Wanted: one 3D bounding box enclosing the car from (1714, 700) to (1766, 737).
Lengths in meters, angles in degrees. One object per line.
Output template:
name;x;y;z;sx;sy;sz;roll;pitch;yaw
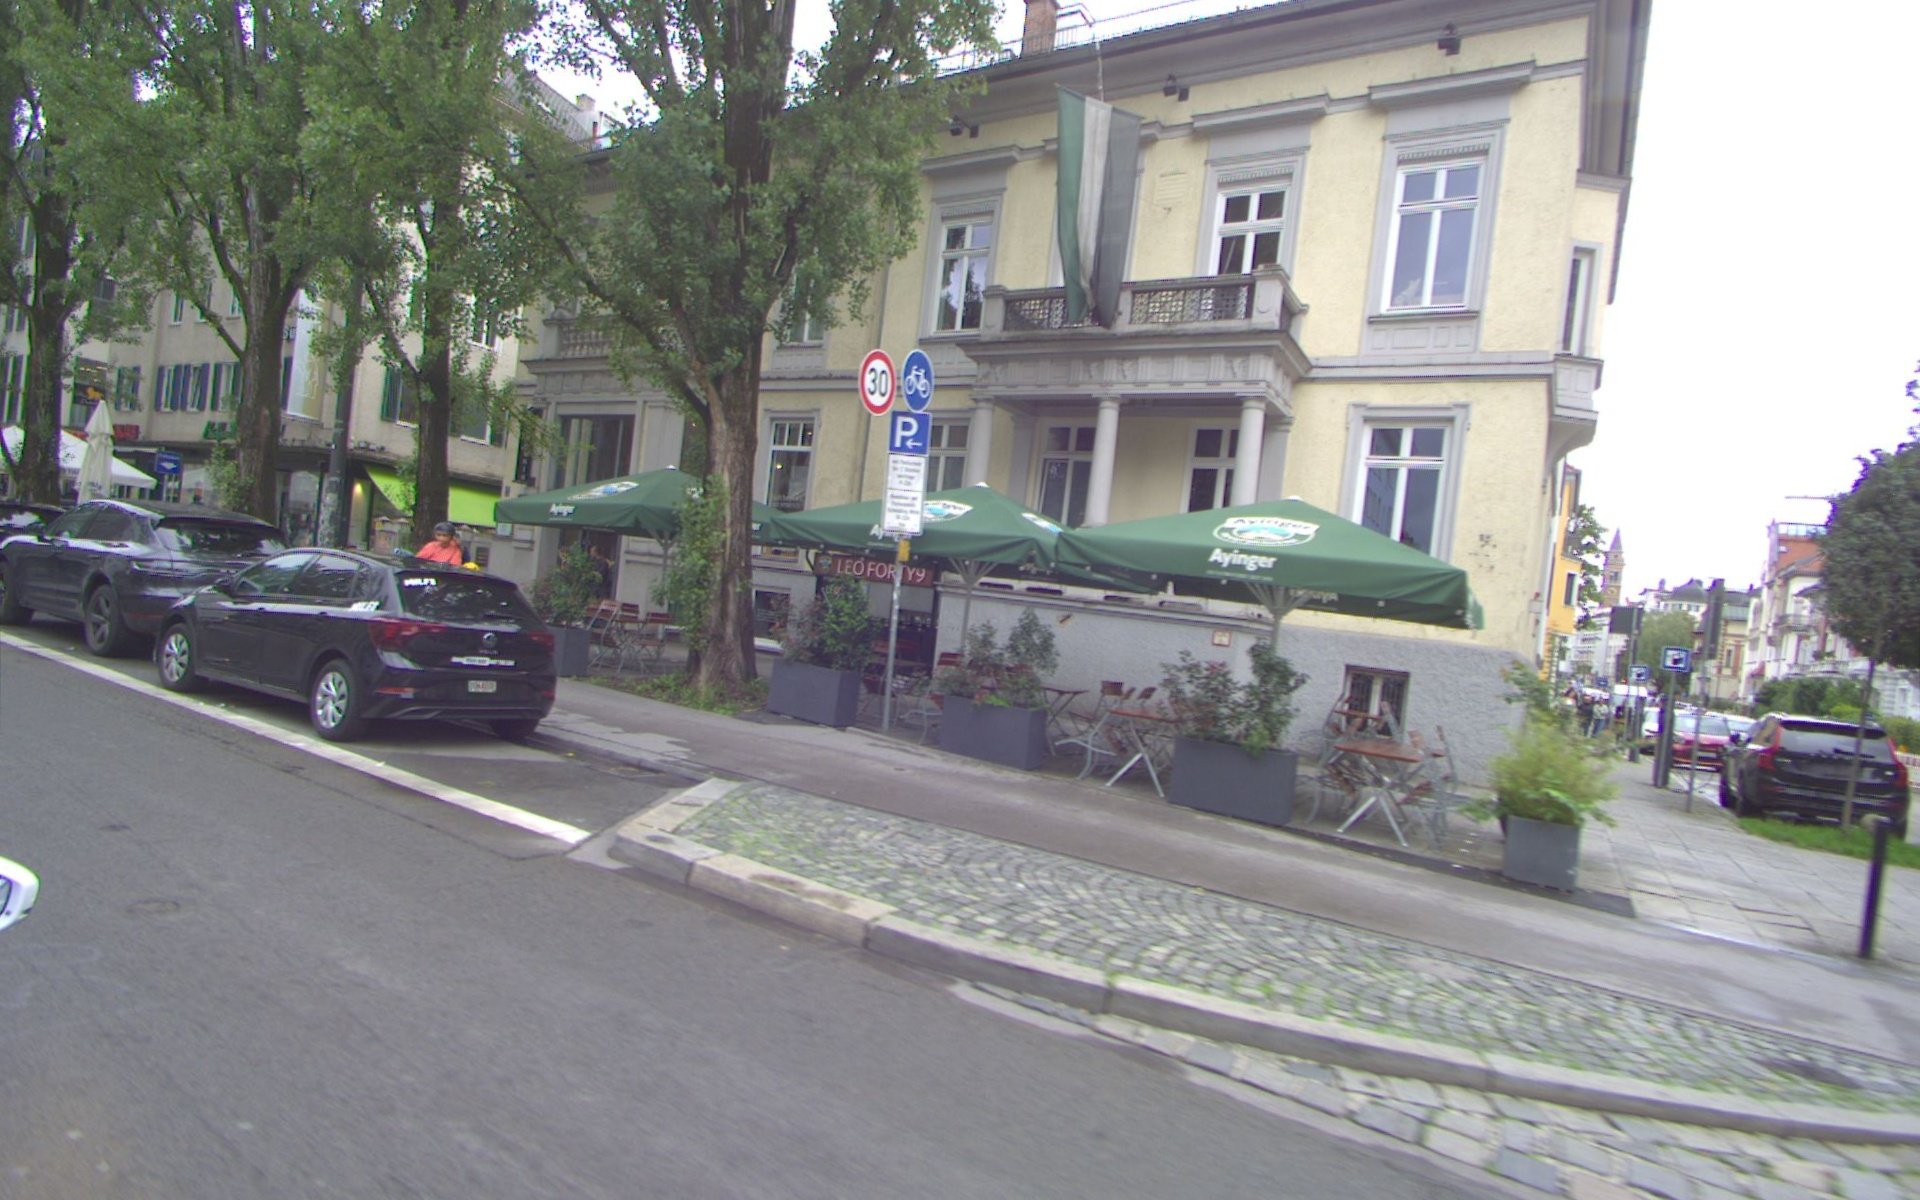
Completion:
car;50.396;7.625;65.055;1.967;2.036;3.996;7;-2;31

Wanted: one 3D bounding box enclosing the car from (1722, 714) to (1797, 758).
car;34.462;5.837;43.465;1.672;1.485;3.997;7;-2;28

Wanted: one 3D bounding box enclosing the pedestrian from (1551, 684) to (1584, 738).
pedestrian;22.024;4.017;36.488;0.752;1.815;0.873;7;1;26

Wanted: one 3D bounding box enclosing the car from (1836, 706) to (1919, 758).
car;43.011;6.152;47.235;1.967;2.036;3.996;7;-2;31

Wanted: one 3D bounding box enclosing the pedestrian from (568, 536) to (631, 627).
pedestrian;-7.780;-0.399;21.731;0.871;1.818;0.764;6;1;-43

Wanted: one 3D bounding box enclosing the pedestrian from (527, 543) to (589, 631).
pedestrian;-8.395;-0.273;20.995;0.870;1.698;0.792;7;1;-38

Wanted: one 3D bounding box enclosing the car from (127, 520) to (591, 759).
car;-5.308;0.265;8.795;3.884;1.434;1.697;7;0;30

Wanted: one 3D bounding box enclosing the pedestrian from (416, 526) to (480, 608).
pedestrian;-11.551;-0.733;22.717;0.862;1.698;0.798;7;1;32

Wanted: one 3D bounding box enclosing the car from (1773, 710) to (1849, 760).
car;40.849;6.450;48.401;1.967;2.036;3.996;7;-2;31

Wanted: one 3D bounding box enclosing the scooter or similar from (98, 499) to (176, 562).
scooter or similar;-21.767;-1.844;26.587;2.451;1.394;0.637;8;3;28

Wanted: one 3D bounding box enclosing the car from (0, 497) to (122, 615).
car;-14.005;-0.792;14.215;4.268;1.410;1.714;7;-1;28

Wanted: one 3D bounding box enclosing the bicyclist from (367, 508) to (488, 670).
bicyclist;-6.334;-0.125;11.978;0.870;1.788;0.768;7;1;31

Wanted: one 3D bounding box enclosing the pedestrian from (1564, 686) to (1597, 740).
pedestrian;22.643;4.113;36.726;0.752;1.815;0.873;7;1;26

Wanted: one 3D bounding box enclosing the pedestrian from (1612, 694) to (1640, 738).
pedestrian;22.855;3.966;34.527;0.590;1.426;0.800;7;-1;28

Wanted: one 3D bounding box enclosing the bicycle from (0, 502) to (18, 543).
bicycle;-25.400;-2.076;26.504;1.429;1.009;0.349;6;2;28

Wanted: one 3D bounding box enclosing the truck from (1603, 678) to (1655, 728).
truck;38.362;5.900;57.740;1.845;2.499;3.997;7;-1;28

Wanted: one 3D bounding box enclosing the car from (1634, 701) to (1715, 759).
car;25.141;4.527;35.528;1.672;1.706;3.997;7;-1;28

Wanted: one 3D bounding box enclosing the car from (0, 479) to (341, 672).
car;-9.355;-0.326;11.582;4.372;1.657;1.807;7;-1;30

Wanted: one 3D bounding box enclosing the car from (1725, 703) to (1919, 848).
car;13.740;2.703;16.176;1.940;1.721;4.420;6;-2;35

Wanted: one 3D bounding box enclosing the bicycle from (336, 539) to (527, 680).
bicycle;-6.306;0.094;11.946;2.408;1.366;0.773;7;0;31

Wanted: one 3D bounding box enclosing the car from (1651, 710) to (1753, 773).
car;21.441;4.035;29.219;1.672;1.416;3.997;7;-2;28

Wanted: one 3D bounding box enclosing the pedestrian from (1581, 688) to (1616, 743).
pedestrian;22.852;4.114;36.025;0.752;1.815;0.873;7;1;26
